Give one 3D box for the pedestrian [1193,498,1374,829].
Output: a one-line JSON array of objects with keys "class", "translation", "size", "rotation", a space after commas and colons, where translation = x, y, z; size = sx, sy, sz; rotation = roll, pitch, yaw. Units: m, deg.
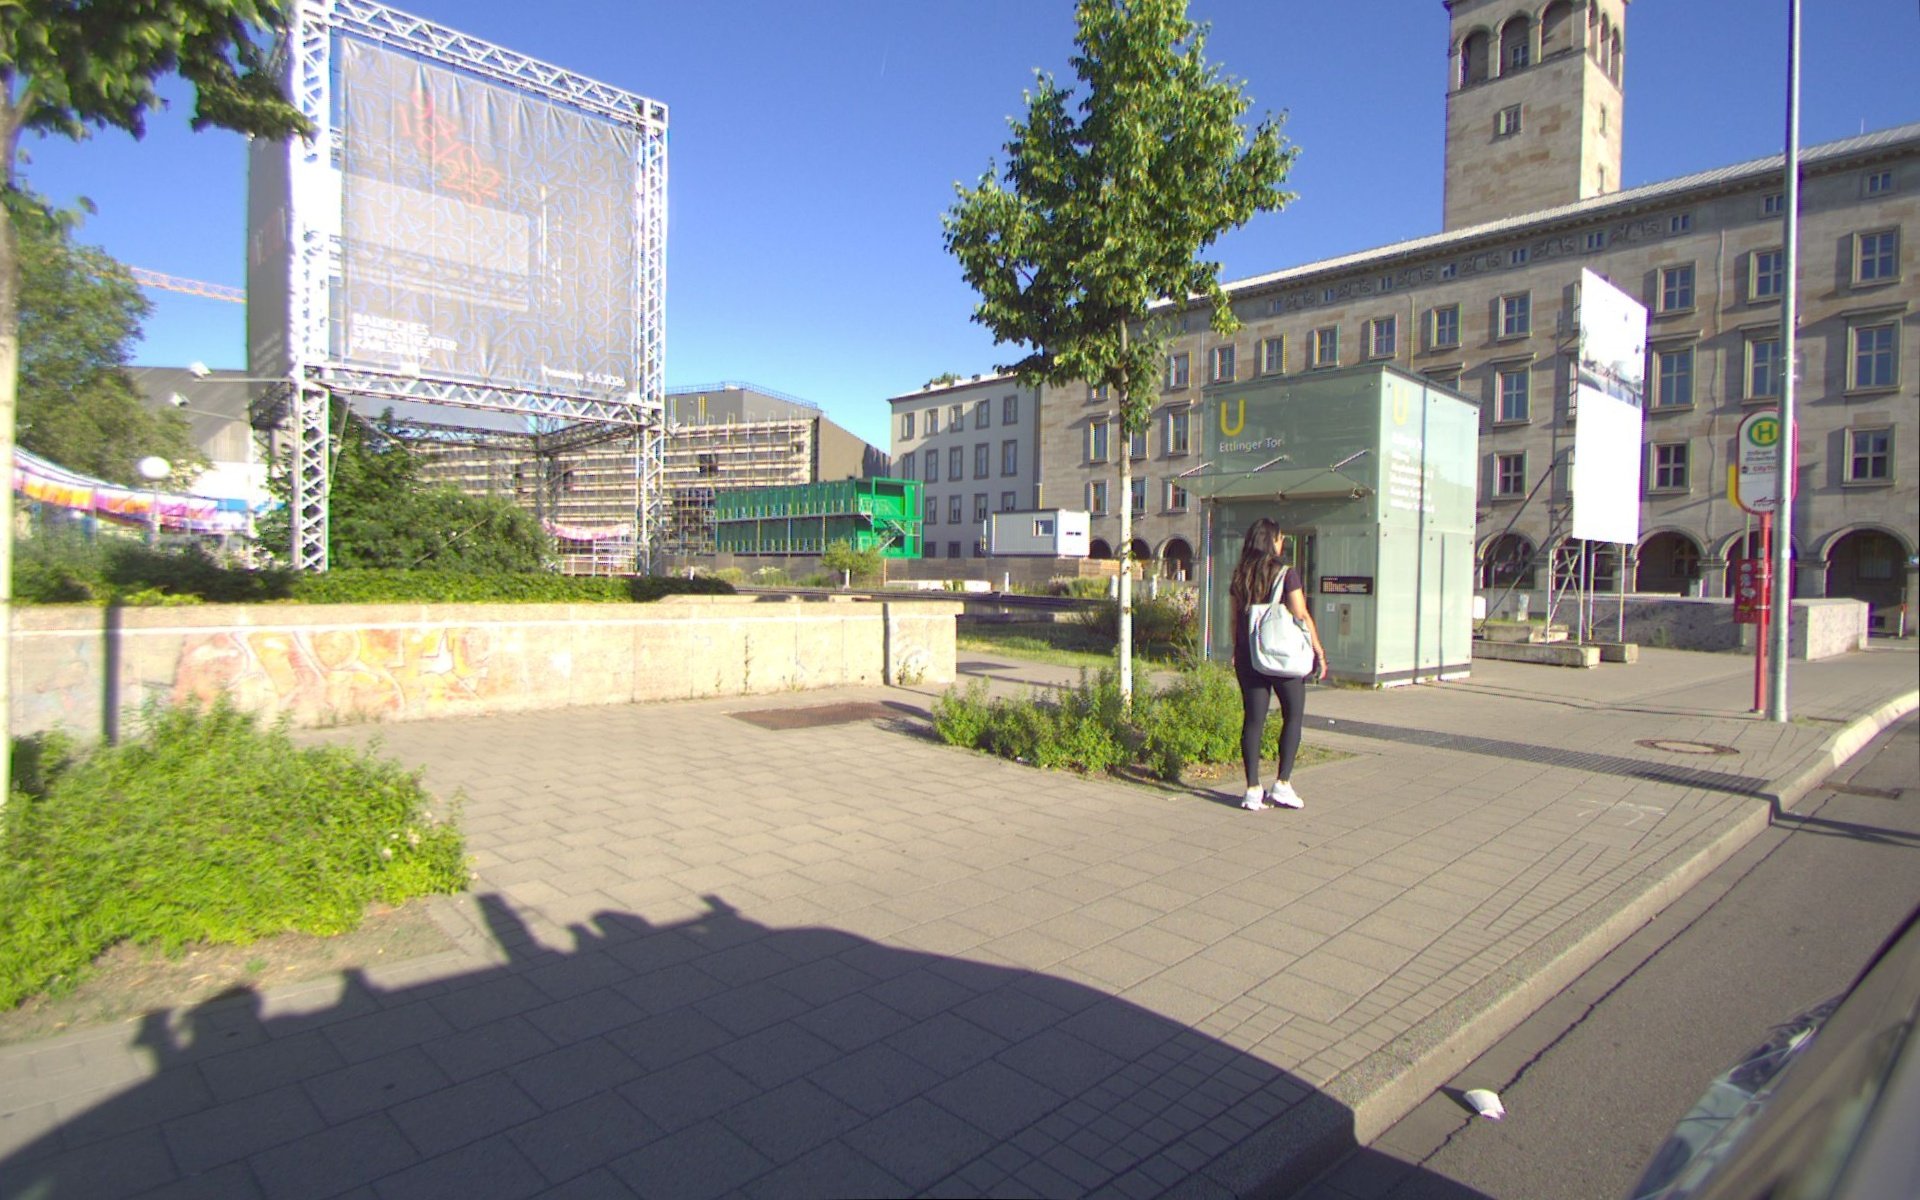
[{"class": "pedestrian", "translation": [1.936, 0.327, 6.161], "size": [0.929, 1.809, 1.067], "rotation": [1, 1, 16]}]
